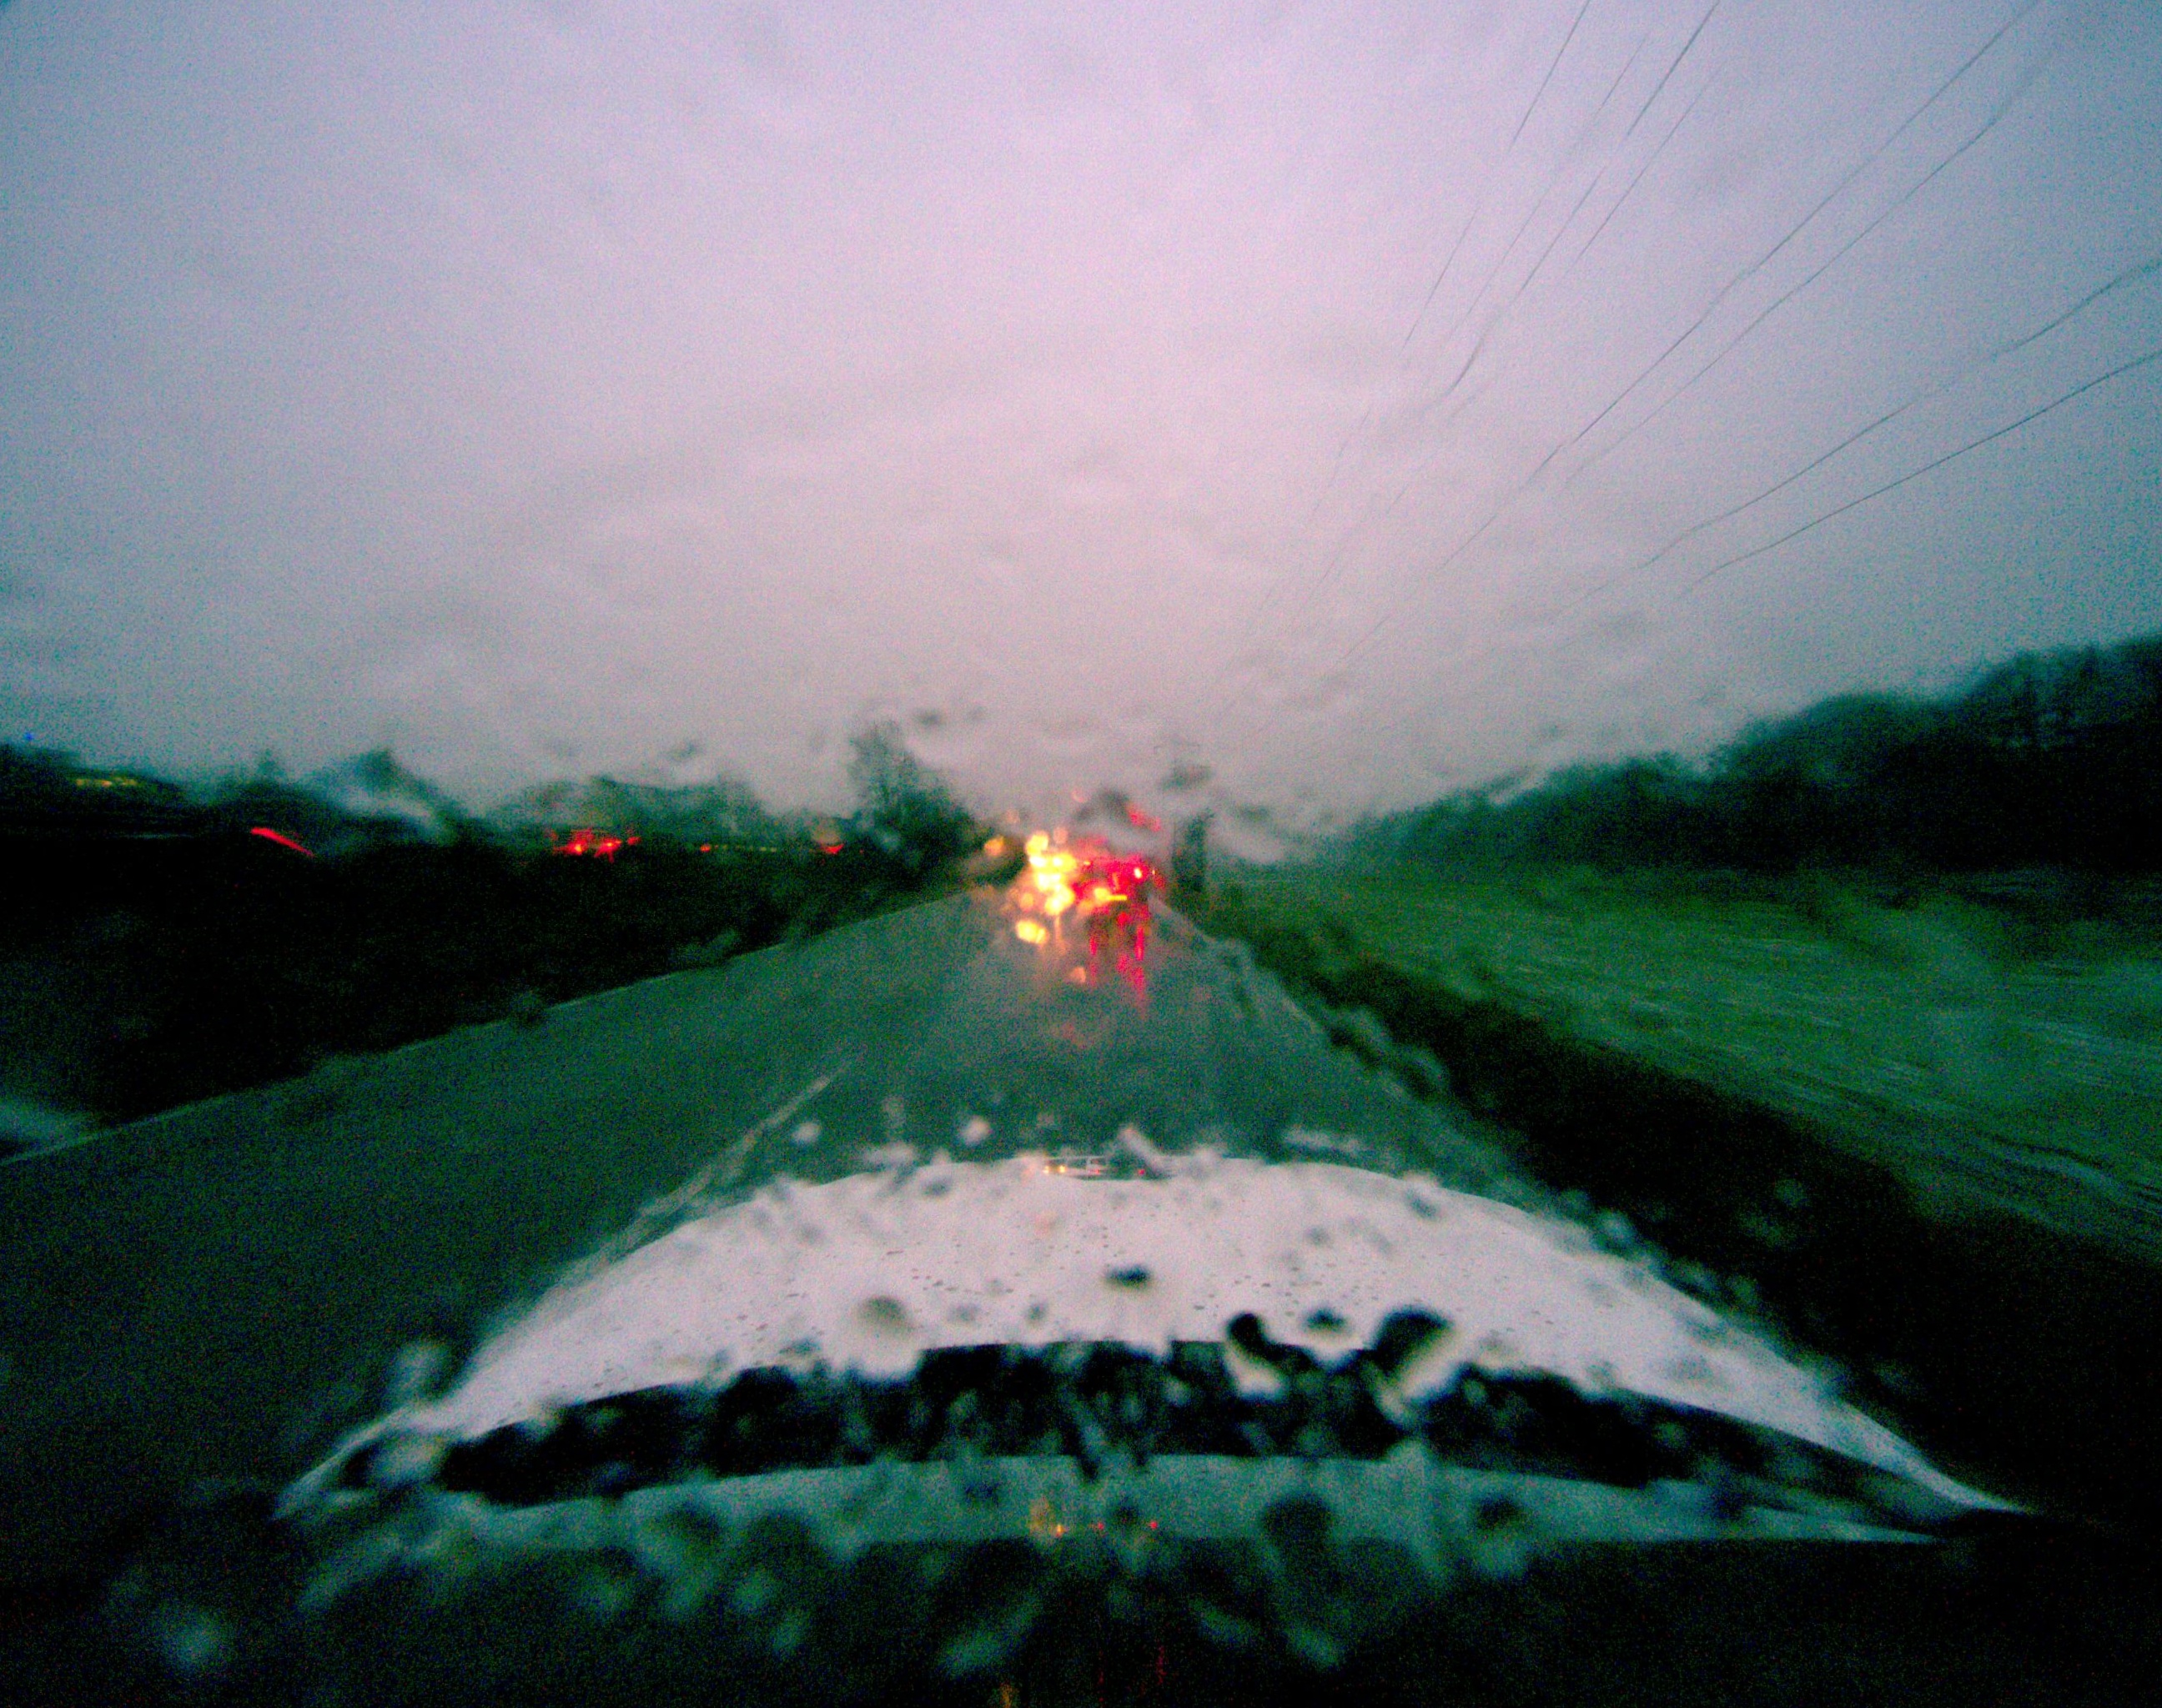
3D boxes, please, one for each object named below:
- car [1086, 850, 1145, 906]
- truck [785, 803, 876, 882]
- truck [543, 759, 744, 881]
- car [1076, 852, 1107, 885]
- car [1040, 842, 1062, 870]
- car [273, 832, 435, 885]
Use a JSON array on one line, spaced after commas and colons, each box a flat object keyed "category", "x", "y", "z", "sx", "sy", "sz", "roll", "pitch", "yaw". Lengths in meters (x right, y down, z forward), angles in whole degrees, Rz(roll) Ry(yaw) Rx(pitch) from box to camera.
[{"category": "car", "x": 0.890, "y": 0.624, "z": 22.341, "sx": 1.495, "sy": 1.398, "sz": 3.199, "roll": 0, "pitch": 0, "yaw": 0}, {"category": "truck", "x": -29.463, "y": -0.969, "z": 99.506, "sx": 7.551, "sy": 7.713, "sz": 39.972, "roll": 0, "pitch": 0, "yaw": -13}, {"category": "truck", "x": -25.940, "y": -1.695, "z": 50.050, "sx": 3.751, "sy": 6.288, "sz": 15.737, "roll": 0, "pitch": 0, "yaw": 0}, {"category": "car", "x": 0.607, "y": 0.883, "z": 50.786, "sx": 1.846, "sy": 2.014, "sz": 3.999, "roll": 0, "pitch": 0, "yaw": 0}, {"category": "car", "x": -3.007, "y": 0.176, "z": 83.105, "sx": 1.946, "sy": 2.674, "sz": 6.271, "roll": -1, "pitch": 0, "yaw": 1}, {"category": "car", "x": -29.885, "y": 0.188, "z": 33.771, "sx": 1.986, "sy": 2.014, "sz": 5.107, "roll": 0, "pitch": 0, "yaw": 2}]
